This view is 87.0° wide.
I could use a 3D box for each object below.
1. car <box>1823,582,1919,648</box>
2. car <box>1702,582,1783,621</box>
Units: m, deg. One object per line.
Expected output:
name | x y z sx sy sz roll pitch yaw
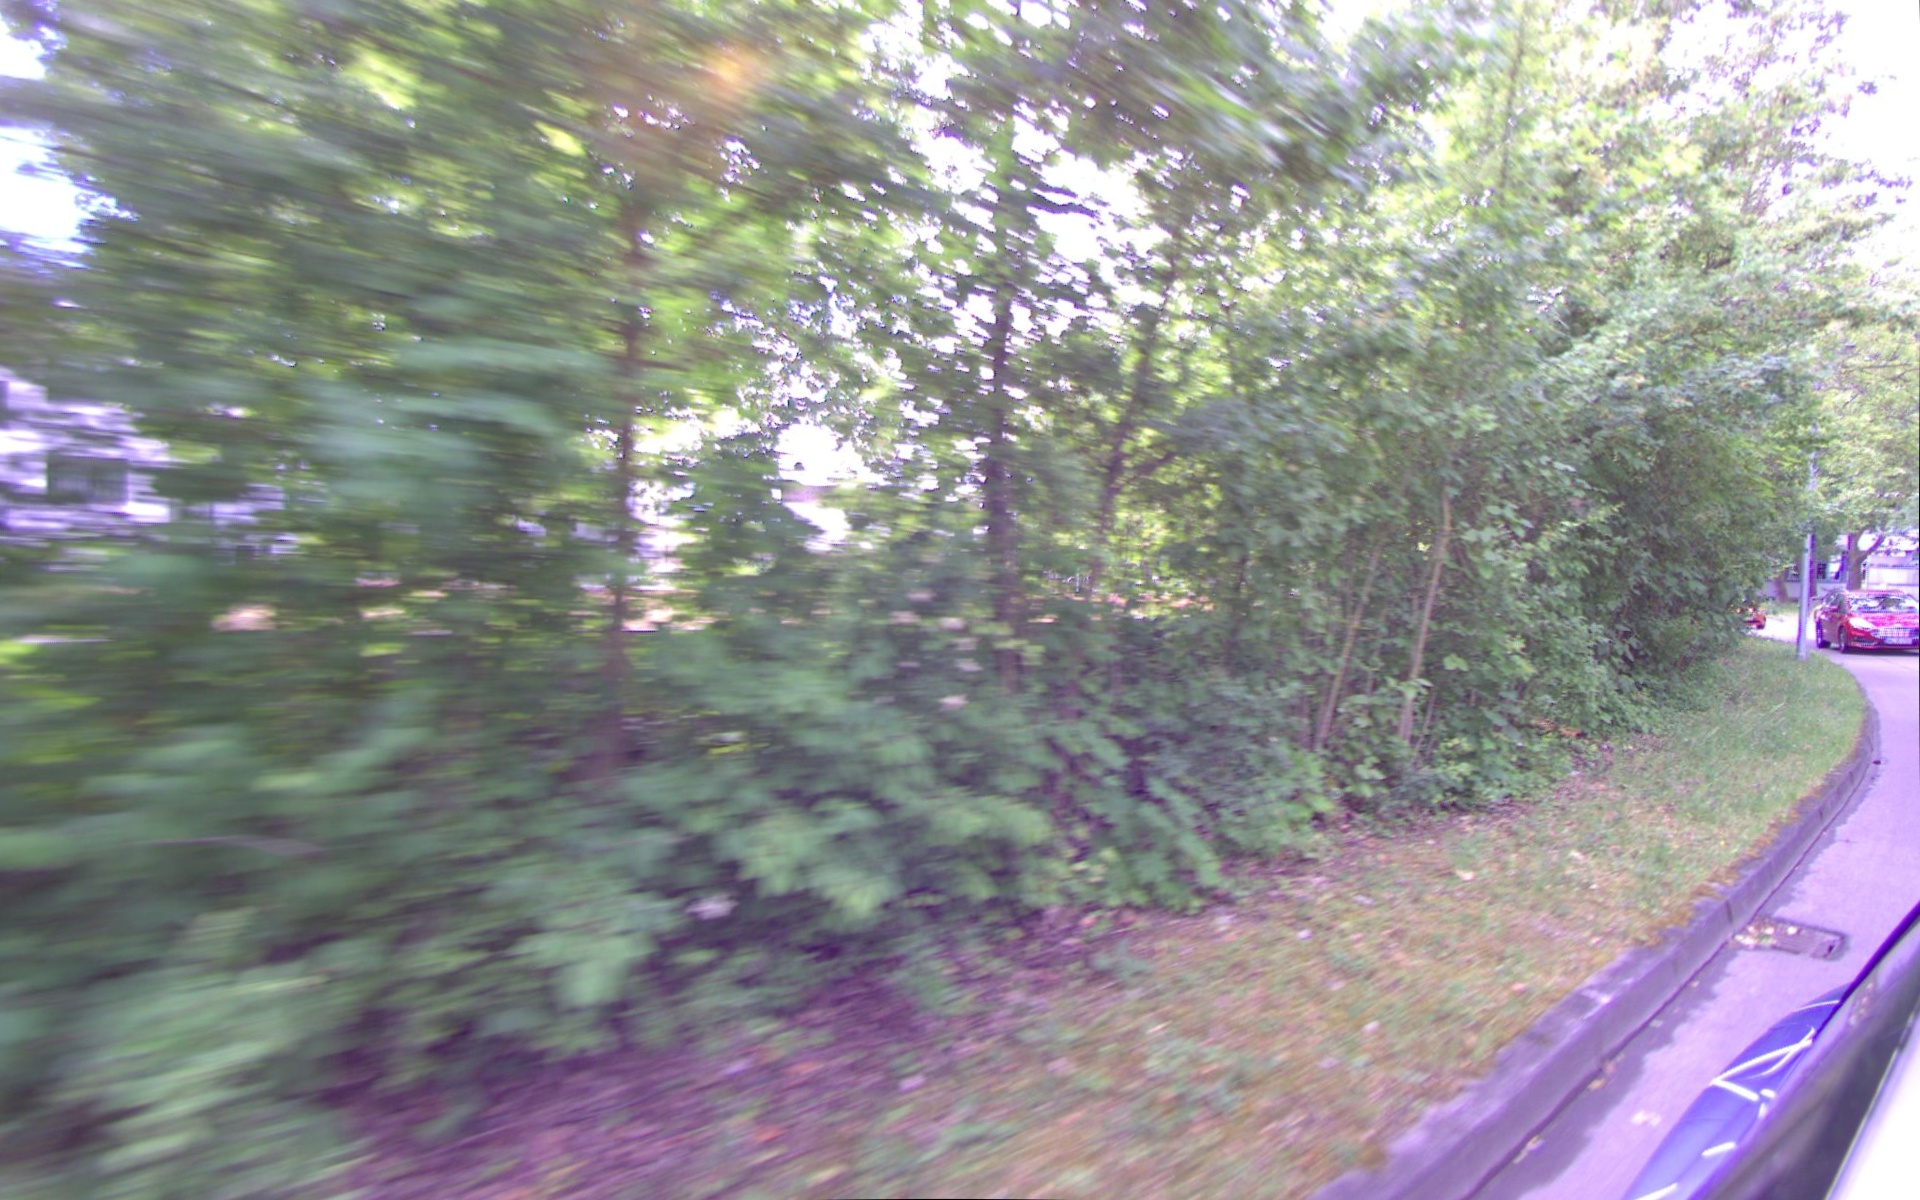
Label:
car | 24.309 0.336 26.559 1.932 1.578 4.306 0 1 33
car | 32.642 0.021 42.317 1.930 1.551 4.048 0 1 27
